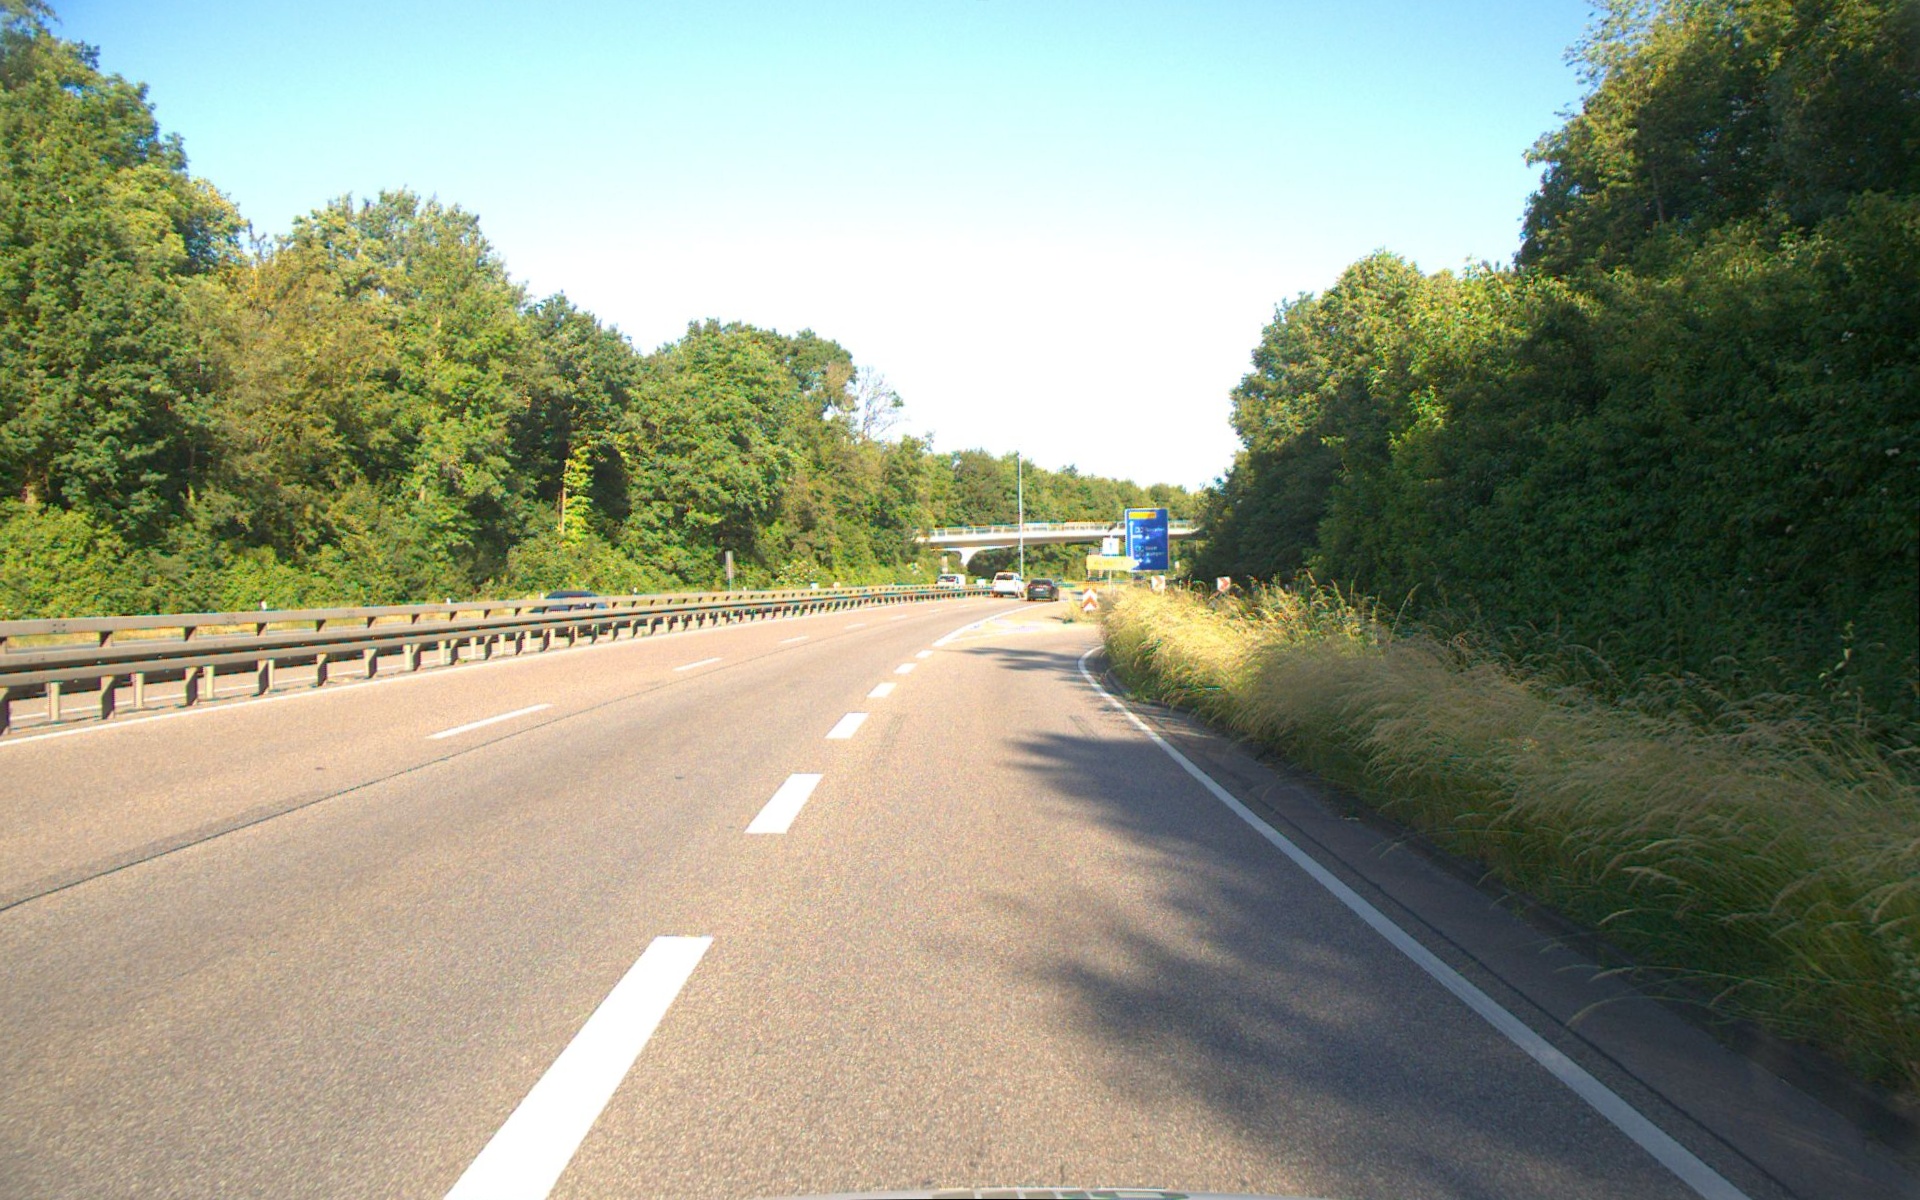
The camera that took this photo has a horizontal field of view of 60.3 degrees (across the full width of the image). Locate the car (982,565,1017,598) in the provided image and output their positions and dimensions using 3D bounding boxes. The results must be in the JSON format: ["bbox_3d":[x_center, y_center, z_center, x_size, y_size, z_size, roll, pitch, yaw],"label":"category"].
[{"bbox_3d":[2.890,-1.358,119.765,1.951,2.317,4.004,-1,0,9],"label":"car"}]

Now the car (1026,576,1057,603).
[{"bbox_3d":[5.313,-0.698,107.596,1.702,1.691,3.949,-1,0,7],"label":"car"}]
